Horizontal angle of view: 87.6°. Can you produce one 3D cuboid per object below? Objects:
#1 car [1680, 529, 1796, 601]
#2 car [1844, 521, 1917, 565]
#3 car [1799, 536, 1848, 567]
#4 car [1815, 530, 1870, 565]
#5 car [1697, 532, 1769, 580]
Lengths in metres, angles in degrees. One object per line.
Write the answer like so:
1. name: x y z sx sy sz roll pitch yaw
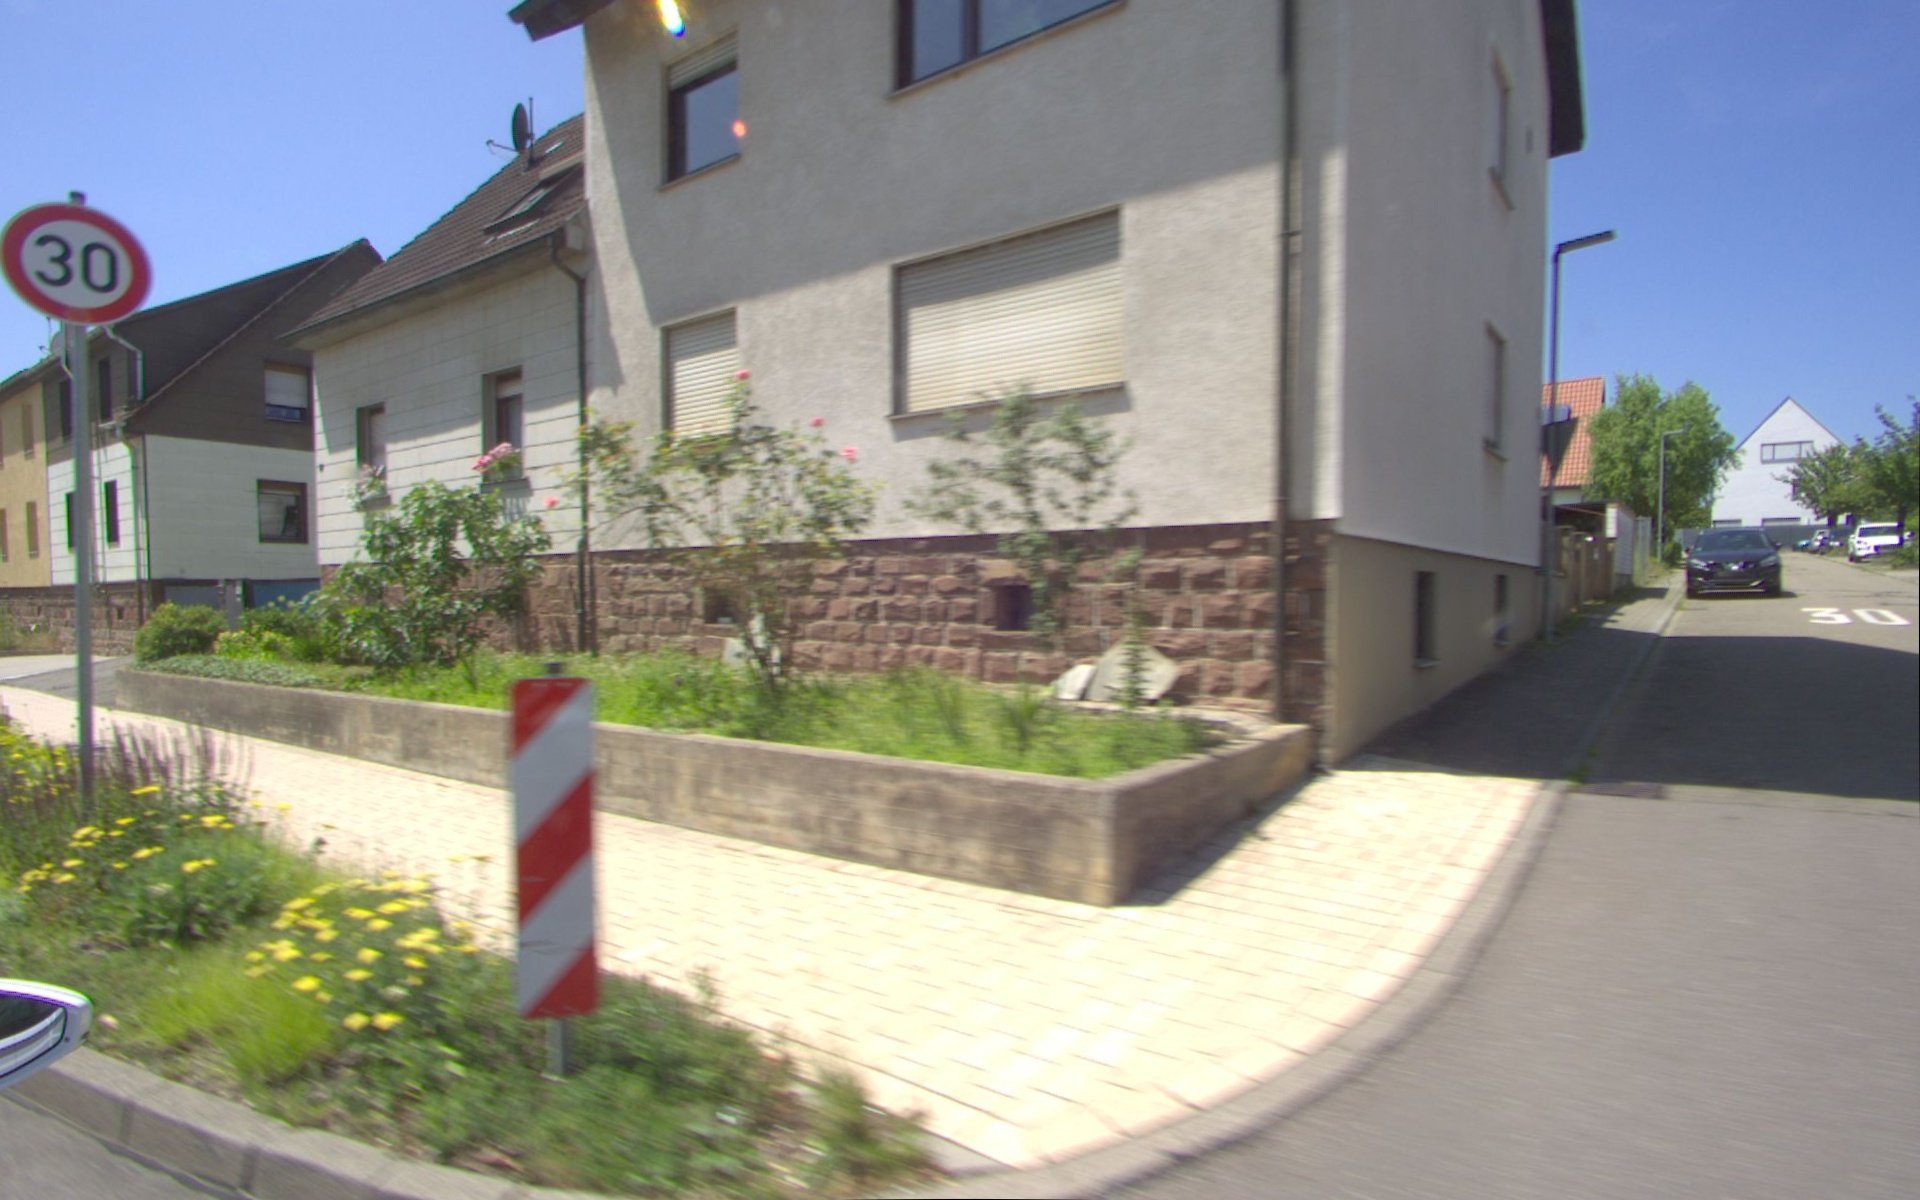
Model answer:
1. car: 18.486 -0.839 23.716 1.883 1.504 4.252 -1 2 42
2. car: 39.841 -2.440 43.435 1.880 1.740 4.259 -1 2 36
3. car: 52.325 -2.931 60.738 1.880 1.740 4.259 -1 2 36
4. car: 47.811 -2.842 54.321 1.880 1.740 4.259 -1 2 36
5. car: 26.790 -1.518 34.805 1.880 1.504 4.259 -1 2 36
